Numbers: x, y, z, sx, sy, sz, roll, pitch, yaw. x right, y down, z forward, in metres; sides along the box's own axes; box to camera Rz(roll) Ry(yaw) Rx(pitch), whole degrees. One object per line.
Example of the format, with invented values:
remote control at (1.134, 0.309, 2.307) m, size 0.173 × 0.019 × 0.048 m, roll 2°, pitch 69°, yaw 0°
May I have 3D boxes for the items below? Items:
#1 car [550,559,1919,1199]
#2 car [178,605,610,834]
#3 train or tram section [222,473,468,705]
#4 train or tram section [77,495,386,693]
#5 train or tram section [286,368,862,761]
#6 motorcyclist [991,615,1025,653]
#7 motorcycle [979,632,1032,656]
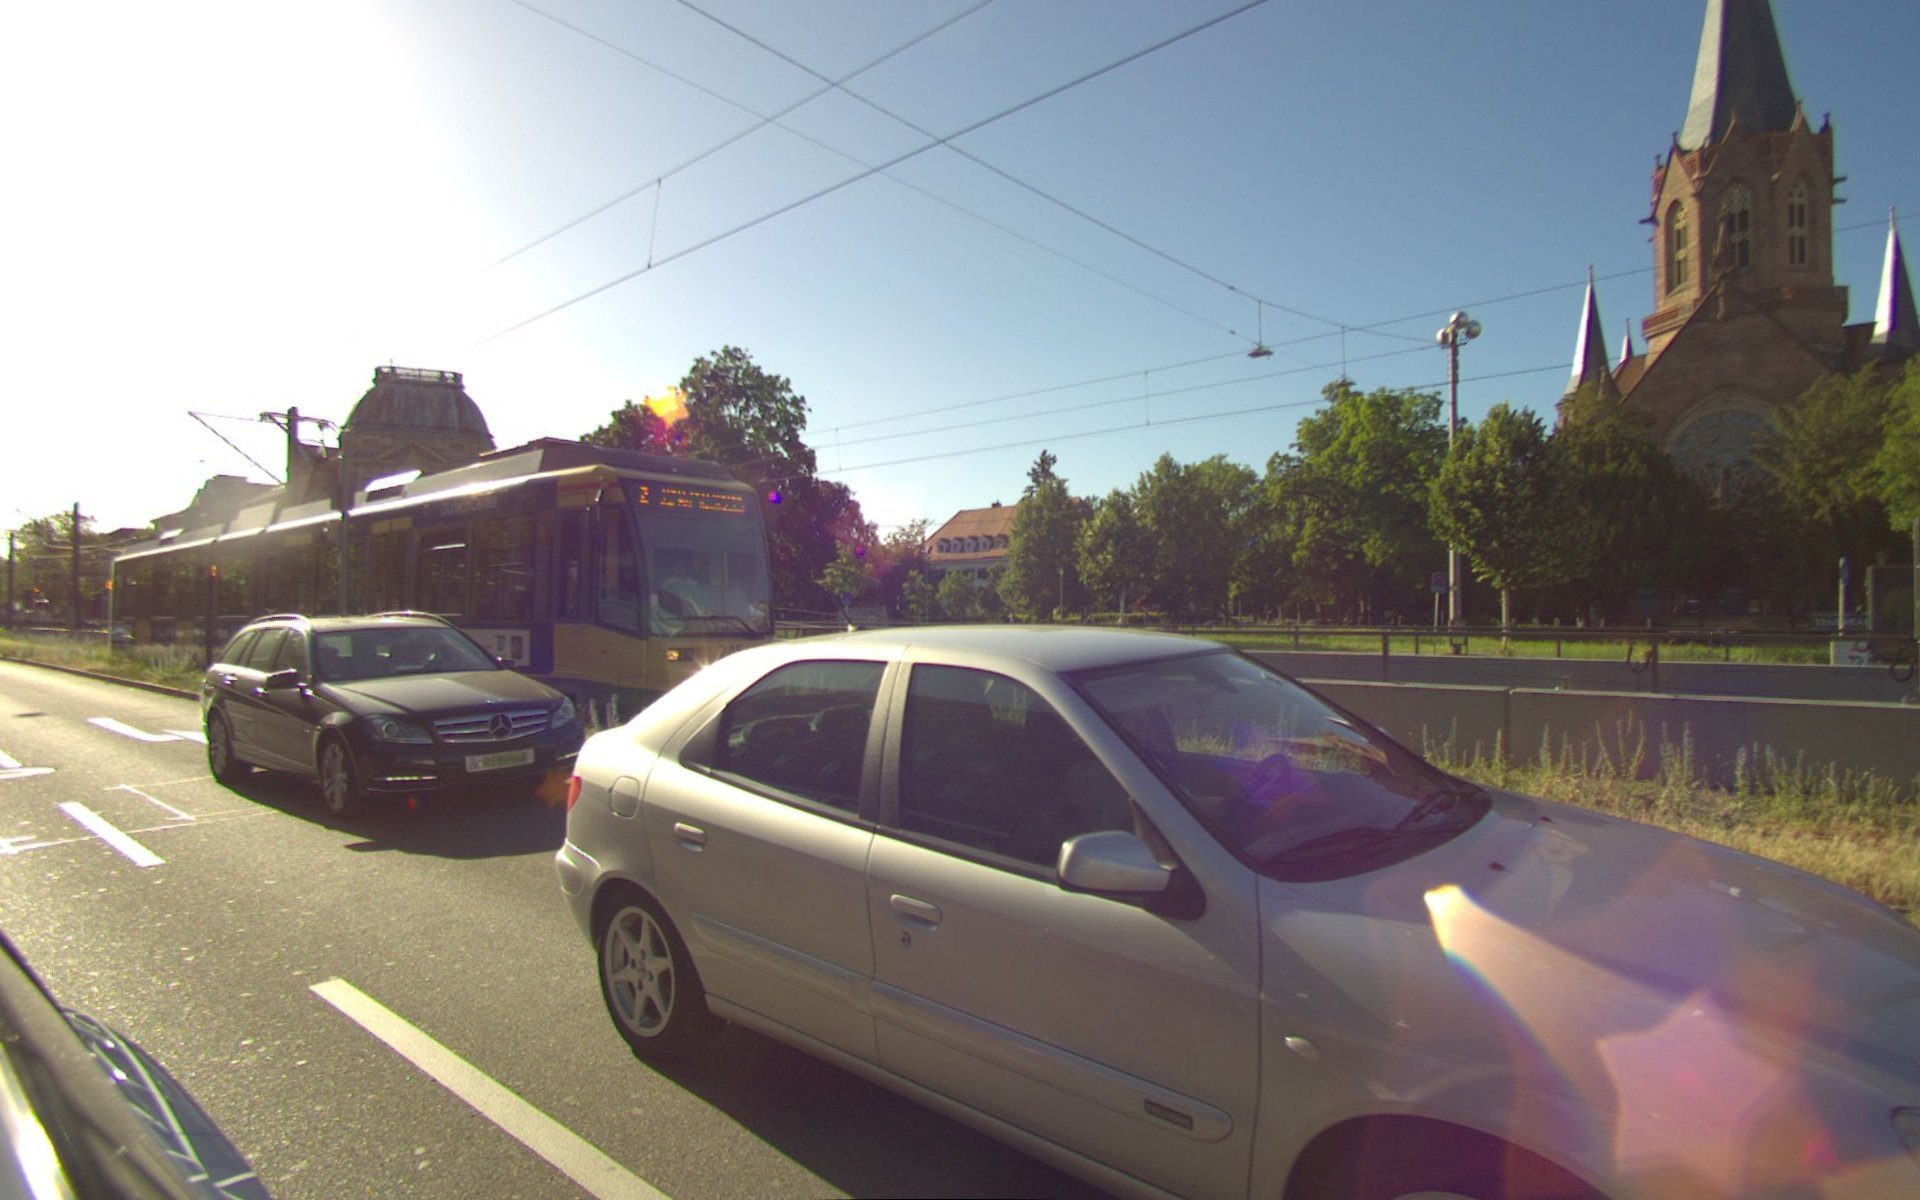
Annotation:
car at (0.611, 0.679, 2.827) m, size 3.998 × 1.431 × 1.627 m, roll -1°, pitch 0°, yaw 41°
car at (-4.984, 0.813, 8.641) m, size 4.405 × 1.481 × 1.710 m, roll -1°, pitch -1°, yaw 39°
train or tram section at (-11.879, -0.184, 19.528) m, size 3.863 × 3.926 × 2.925 m, roll -1°, pitch 0°, yaw 40°
train or tram section at (-18.826, -0.034, 25.420) m, size 14.262 × 3.840 × 2.899 m, roll -1°, pitch 0°, yaw 40°
train or tram section at (-6.291, -0.296, 14.728) m, size 10.794 × 3.926 × 2.923 m, roll -1°, pitch 0°, yaw 40°
motorcyclist at (1.791, 1.265, 37.786) m, size 0.874 × 1.348 × 0.873 m, roll -1°, pitch 0°, yaw 42°
motorcycle at (1.702, 1.635, 37.797) m, size 2.144 × 0.856 × 0.508 m, roll -1°, pitch 0°, yaw 43°
